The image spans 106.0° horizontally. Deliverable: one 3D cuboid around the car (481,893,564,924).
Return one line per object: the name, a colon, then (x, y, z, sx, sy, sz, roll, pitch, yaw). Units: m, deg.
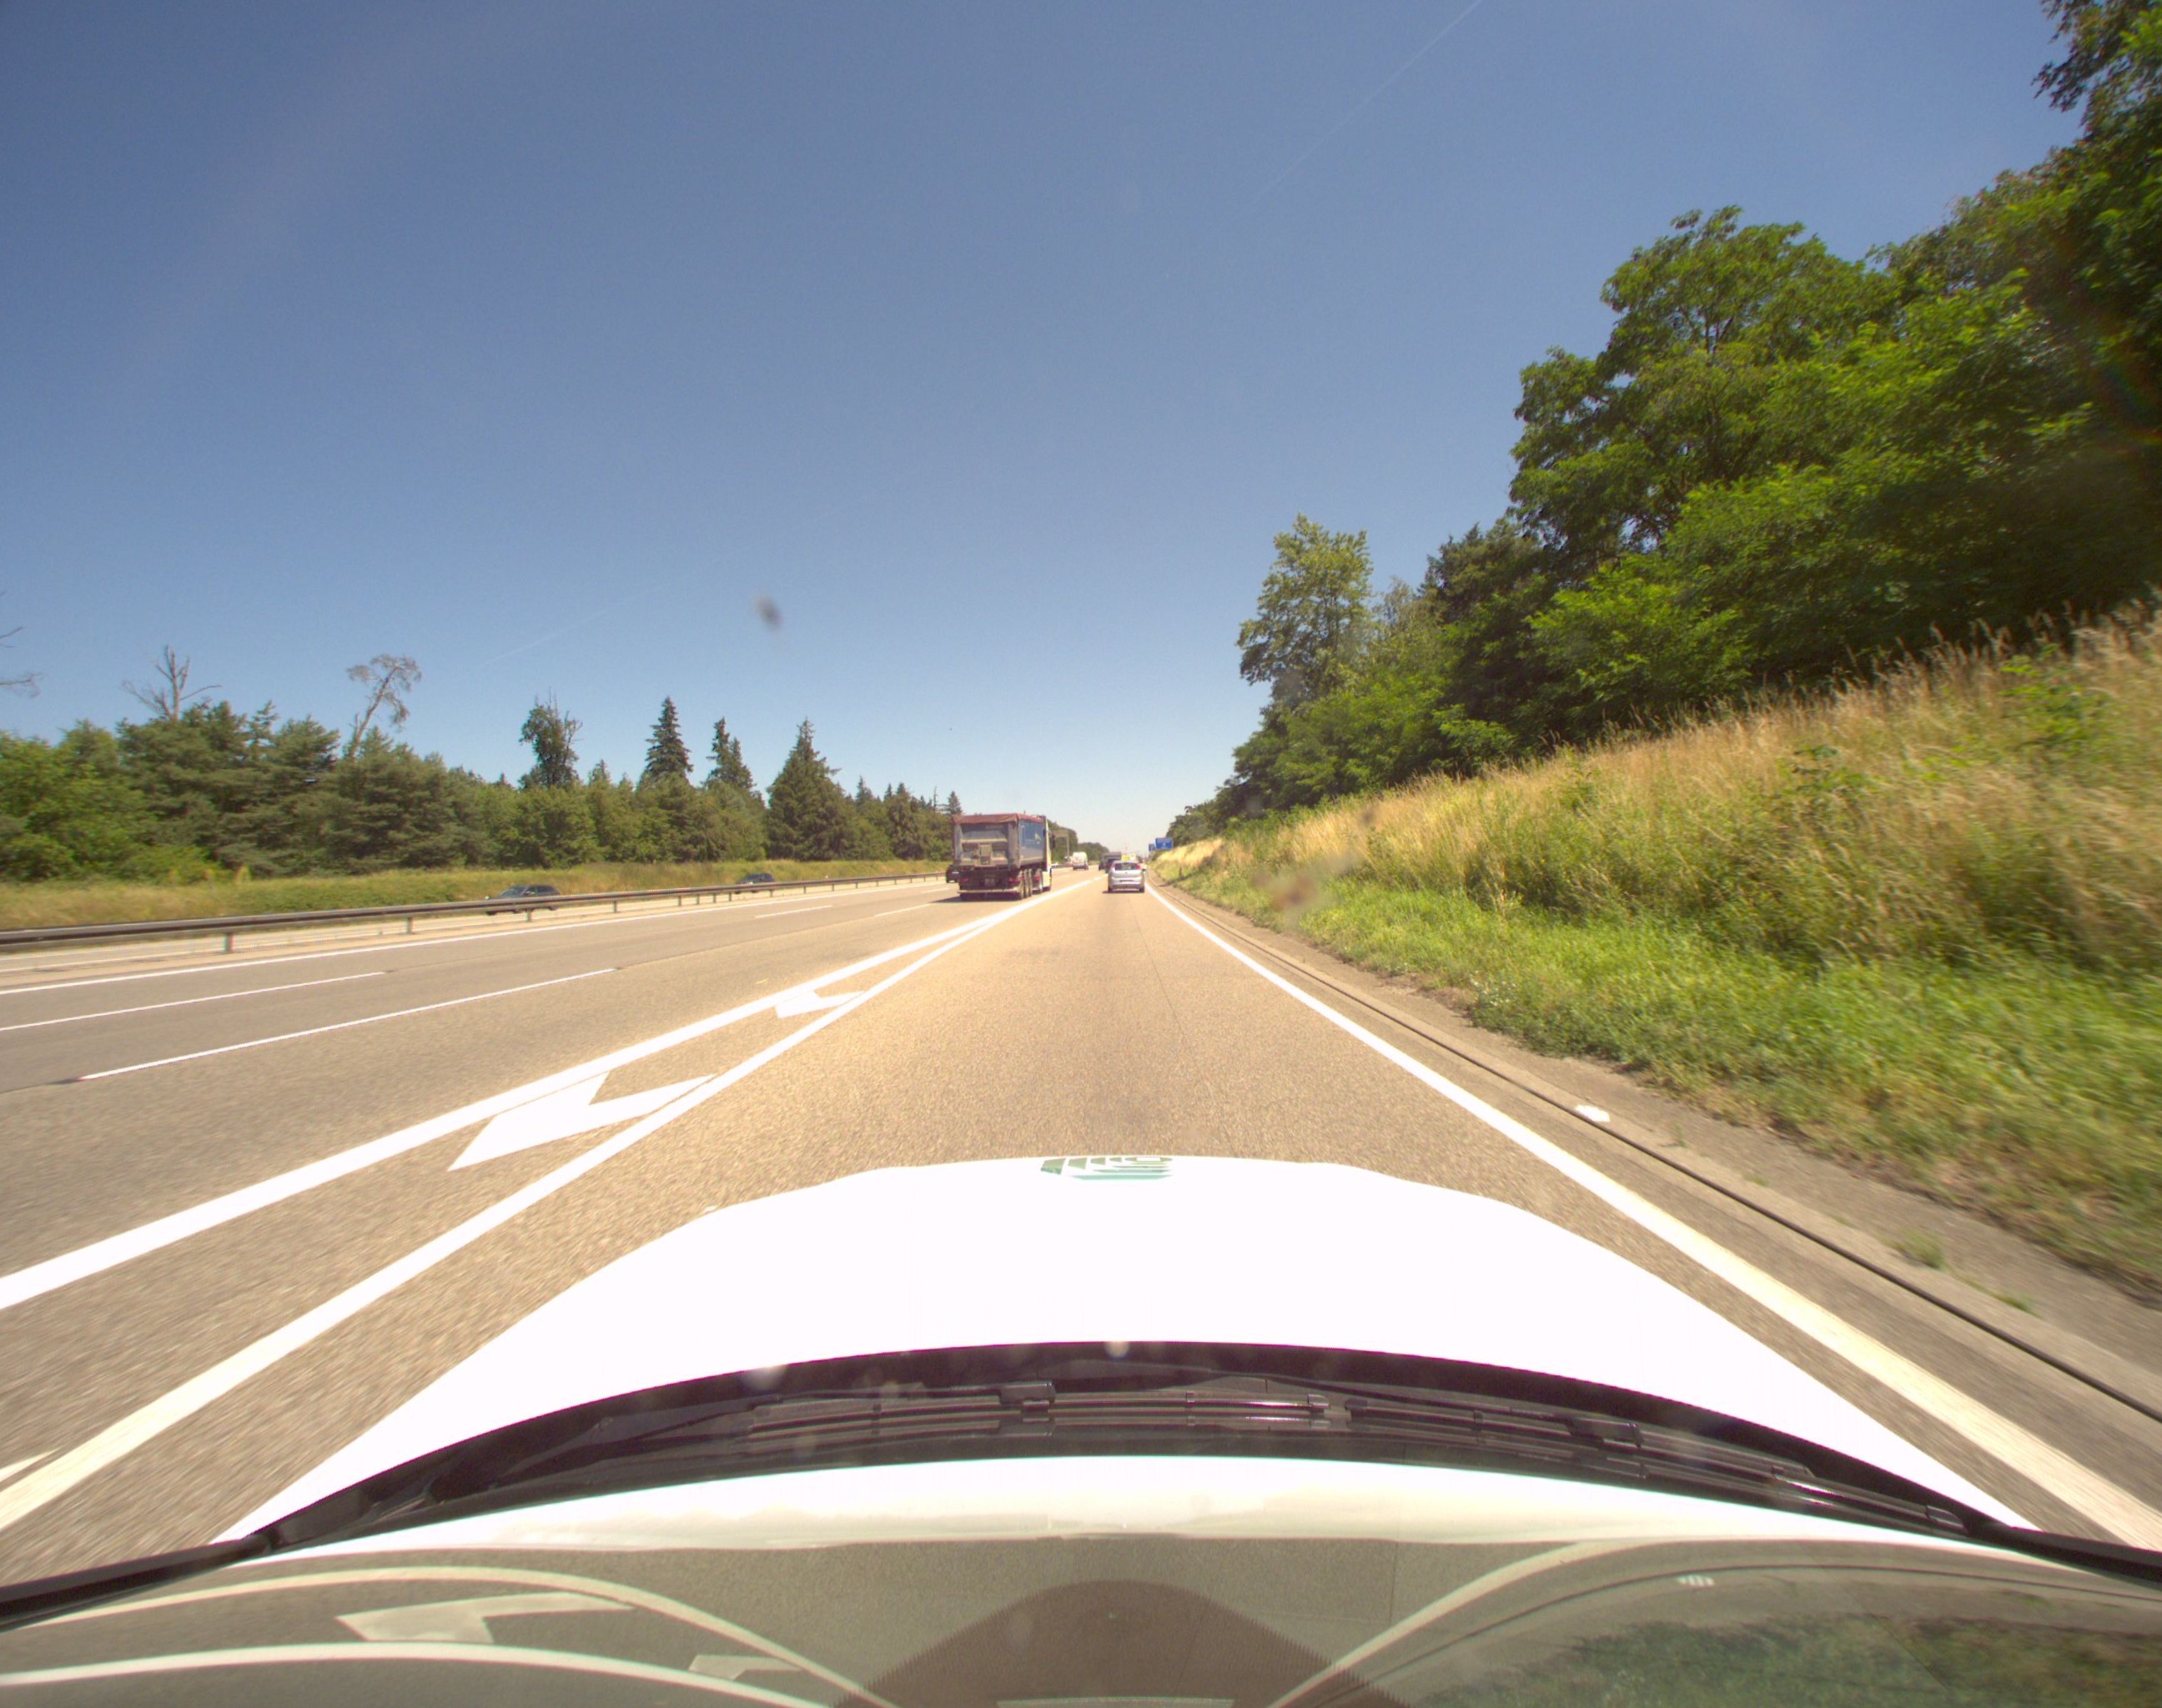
car: (-31.426, 3.014, 45.977, 1.550, 1.527, 4.008, -1, -1, 7)

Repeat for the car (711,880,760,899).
car: (-28.744, 2.920, 67.897, 1.780, 1.420, 4.442, -1, -1, 6)

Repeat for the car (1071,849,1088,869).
car: (-0.168, 0.781, 126.762, 2.250, 2.951, 6.119, -1, -1, 4)

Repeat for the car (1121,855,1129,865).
car: (9.677, 1.284, 179.075, 1.604, 2.014, 4.004, -1, -1, 4)

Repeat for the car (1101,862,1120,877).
car: (3.393, 1.722, 92.294, 1.822, 1.672, 4.007, -1, -1, 7)

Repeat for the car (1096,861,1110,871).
car: (3.163, 1.709, 117.566, 1.886, 1.469, 4.263, -1, 0, 2)

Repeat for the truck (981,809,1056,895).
truck: (-2.901, -0.077, 39.540, 2.673, 3.758, 5.950, -2, 0, 4)

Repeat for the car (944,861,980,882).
car: (-9.172, 1.316, 62.905, 1.695, 1.474, 4.602, -2, 0, 5)

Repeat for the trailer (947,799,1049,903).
trailer: (-3.254, -0.077, 34.684, 2.725, 3.758, 9.118, -2, 0, 4)

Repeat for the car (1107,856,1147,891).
car: (2.111, 0.873, 37.640, 1.712, 1.491, 3.739, -1, 0, 3)
